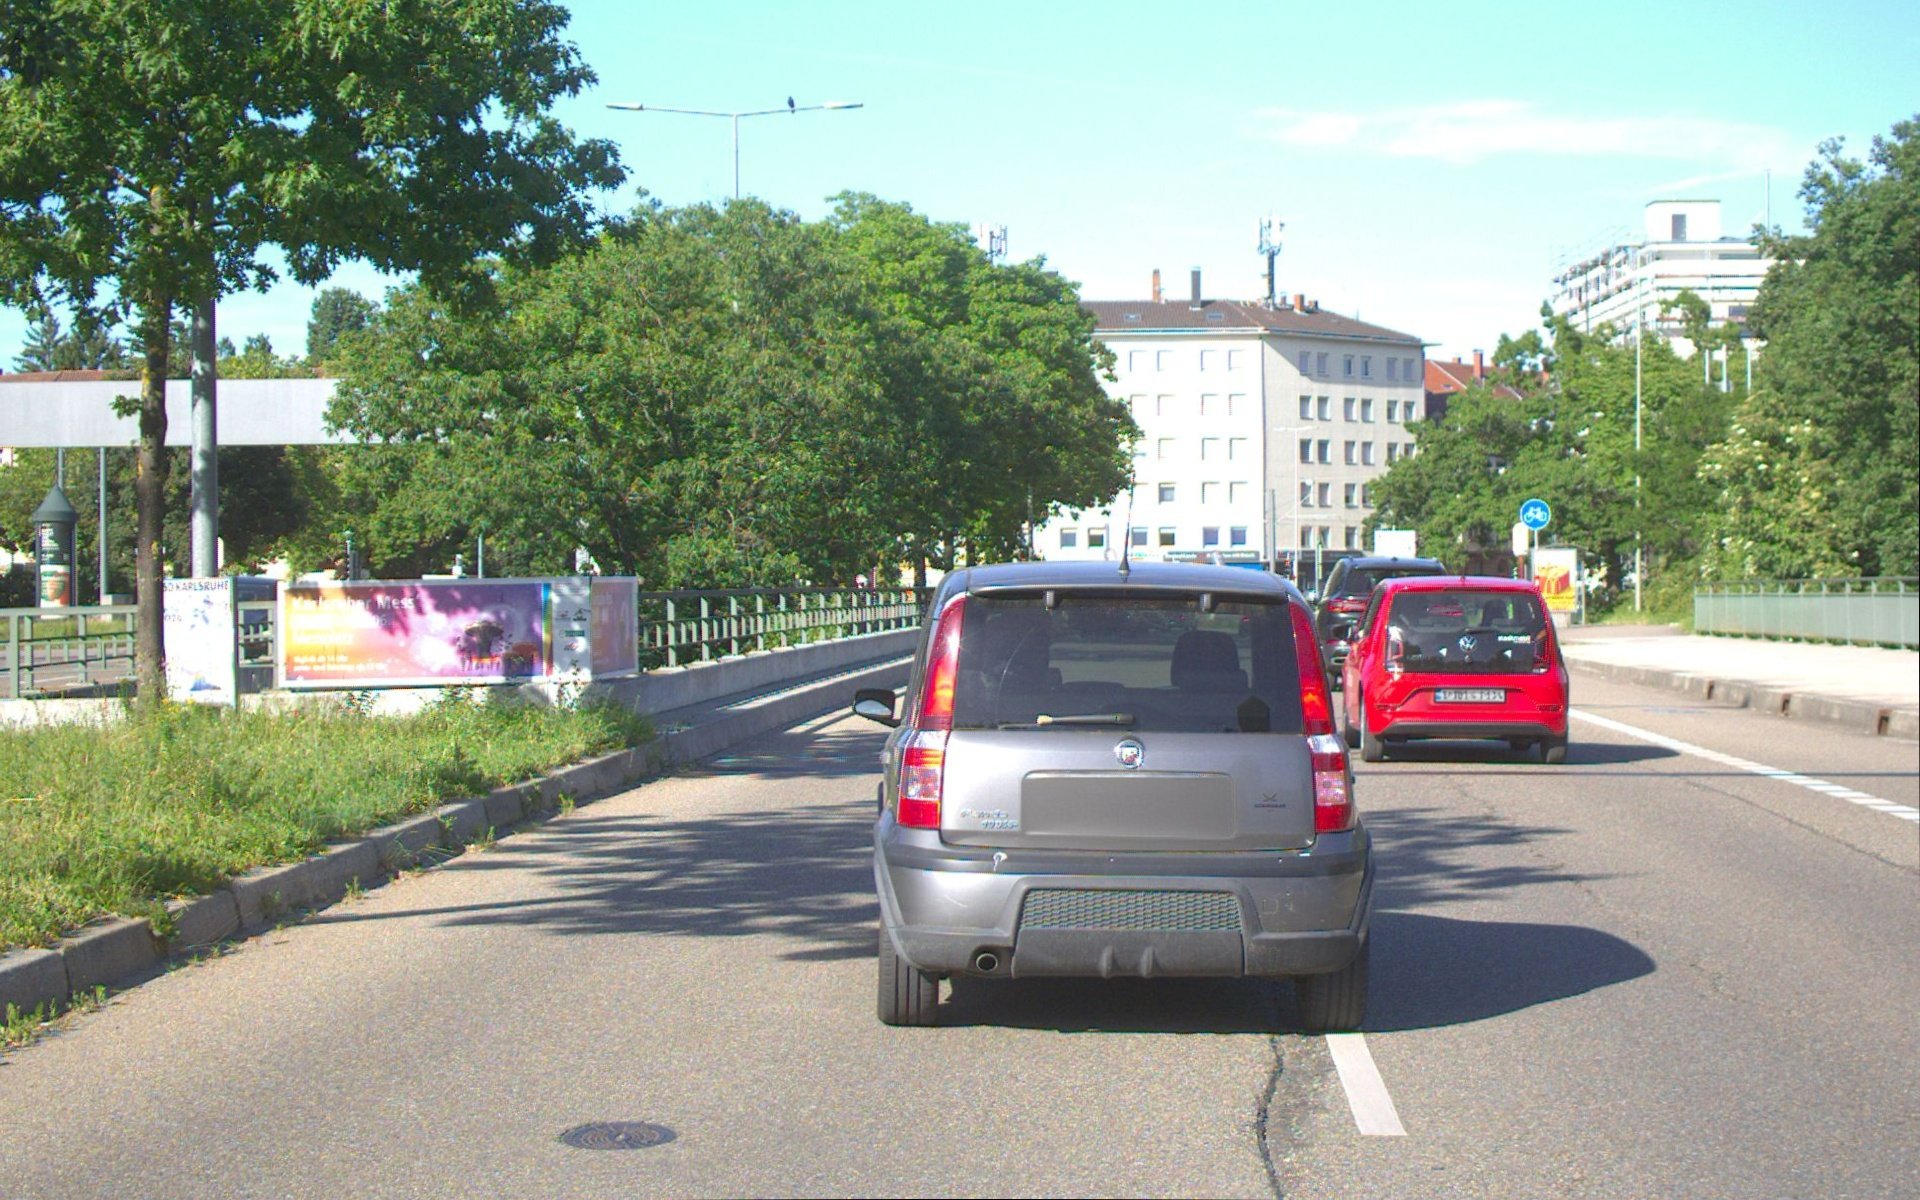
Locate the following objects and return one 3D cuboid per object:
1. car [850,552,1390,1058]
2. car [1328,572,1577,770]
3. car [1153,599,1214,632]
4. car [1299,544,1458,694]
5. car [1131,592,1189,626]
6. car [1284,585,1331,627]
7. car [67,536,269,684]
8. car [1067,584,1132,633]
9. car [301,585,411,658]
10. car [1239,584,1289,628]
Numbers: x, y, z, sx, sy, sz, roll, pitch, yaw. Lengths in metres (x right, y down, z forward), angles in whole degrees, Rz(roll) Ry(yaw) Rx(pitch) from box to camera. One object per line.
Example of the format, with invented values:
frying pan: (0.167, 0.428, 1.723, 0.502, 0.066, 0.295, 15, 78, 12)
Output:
car: (0.542, 0.602, 12.475, 1.617, 1.510, 3.820, 2, 1, 2)
car: (3.976, 0.529, 28.239, 1.617, 1.458, 3.750, 2, 1, 2)
car: (10.744, 0.736, 165.223, 1.947, 1.523, 4.093, 0, 0, 19)
car: (5.487, 0.258, 45.138, 1.946, 1.834, 4.151, 1, 0, 7)
car: (9.144, 0.414, 156.852, 1.946, 1.523, 4.095, 0, 0, 13)
car: (16.352, 0.297, 161.581, 1.946, 1.834, 4.151, -4, -1, 8)
car: (-11.401, 0.128, 49.743, 1.993, 2.007, 4.334, -1, 0, -1)
car: (4.483, 0.252, 109.973, 1.945, 1.523, 4.097, 0, 0, 4)
car: (-12.937, 0.435, 73.819, 1.744, 1.495, 4.000, -1, 0, -1)
car: (13.726, 0.292, 155.210, 1.946, 1.834, 4.151, -4, -1, 8)
